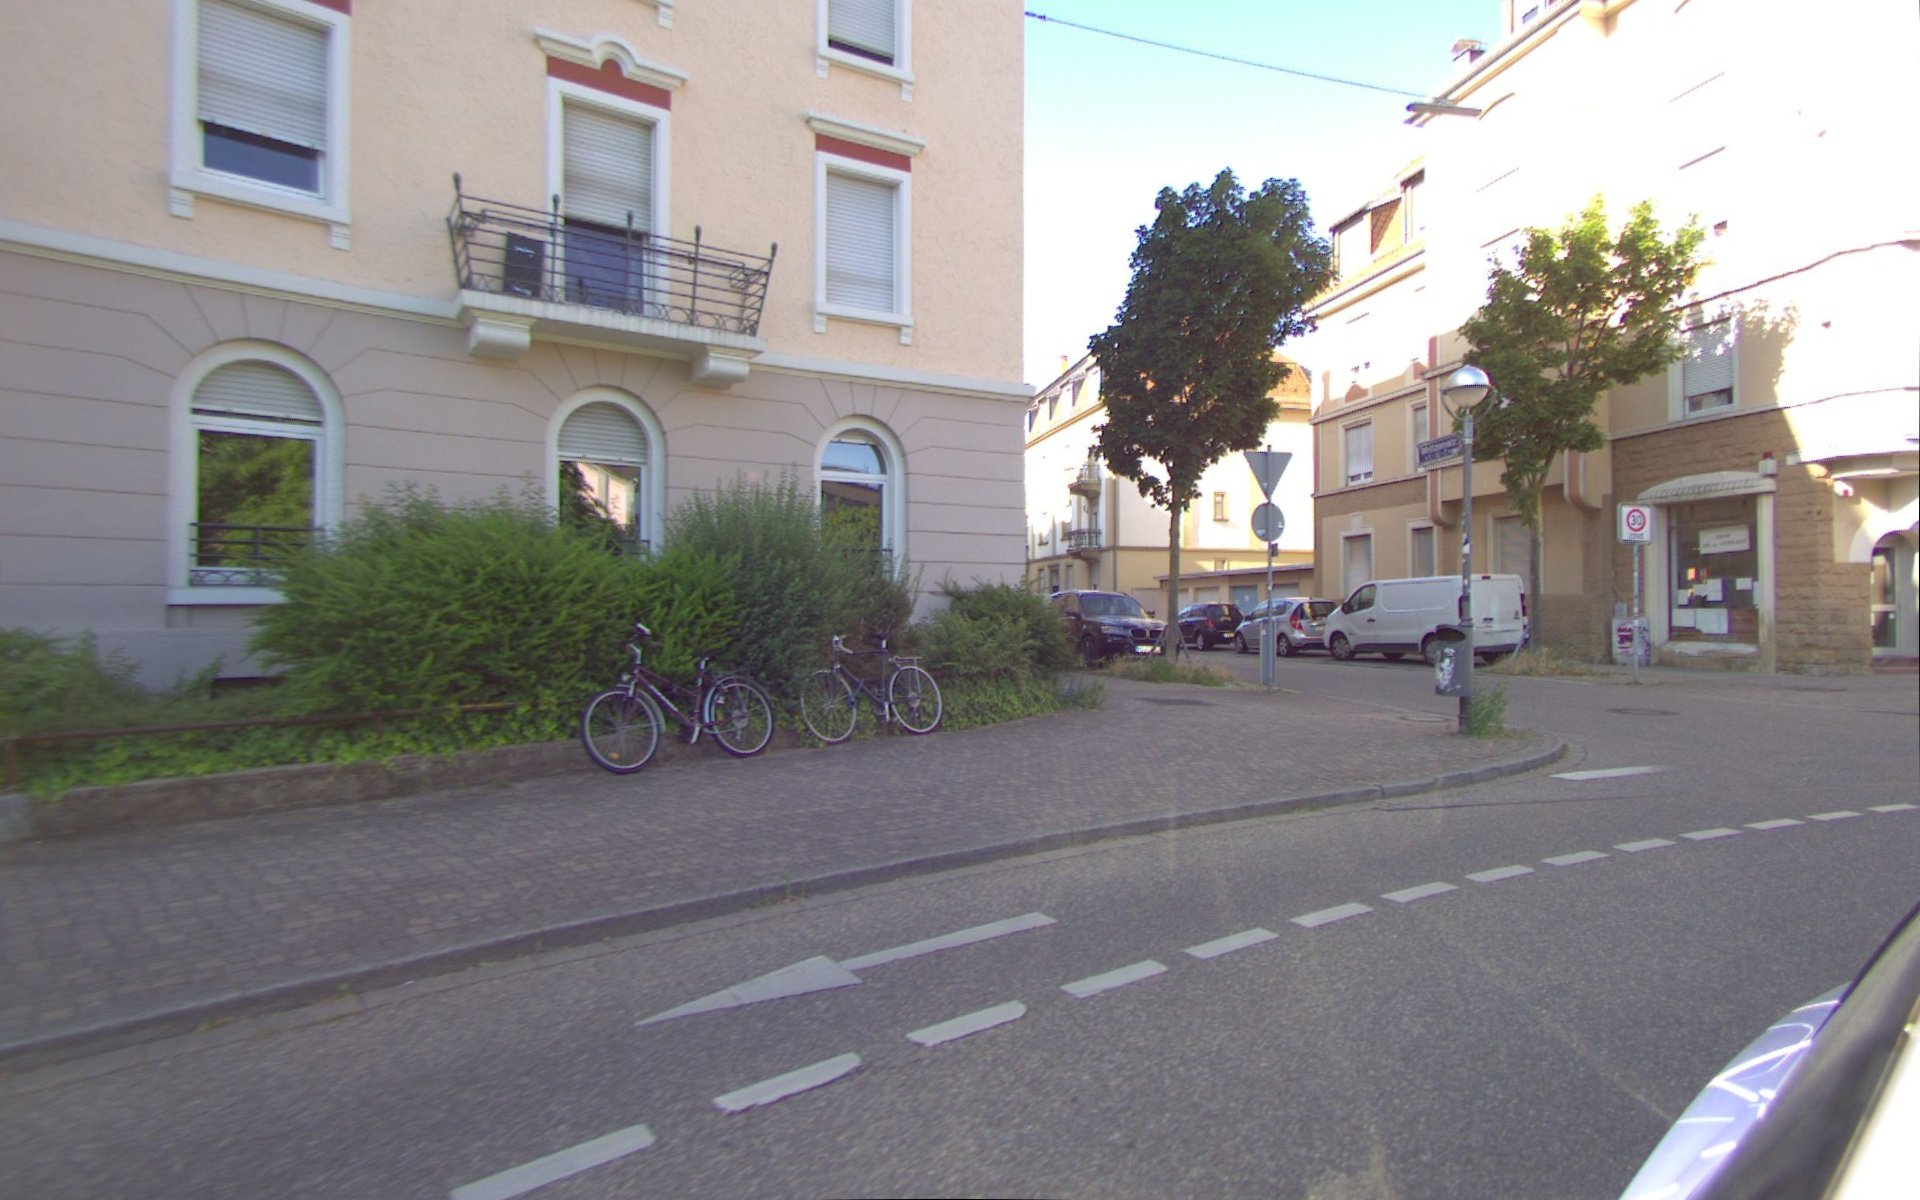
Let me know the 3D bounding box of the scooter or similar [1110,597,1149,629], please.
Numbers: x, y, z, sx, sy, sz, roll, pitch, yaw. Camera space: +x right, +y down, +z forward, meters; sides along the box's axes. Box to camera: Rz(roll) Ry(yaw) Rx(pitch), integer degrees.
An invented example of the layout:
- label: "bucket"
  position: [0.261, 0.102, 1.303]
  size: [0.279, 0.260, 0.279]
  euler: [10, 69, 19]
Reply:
- label: "scooter or similar"
  position: [7.547, 0.590, 45.108]
  size: [1.306, 1.398, 1.355]
  euler: [1, -1, -14]

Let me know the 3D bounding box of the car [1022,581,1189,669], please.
- label: "car"
  position: [2.917, 0.485, 21.360]
  size: [1.869, 1.663, 4.355]
  euler: [0, -1, -16]

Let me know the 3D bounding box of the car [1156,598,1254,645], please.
- label: "car"
  position: [7.835, 0.667, 32.626]
  size: [1.604, 1.446, 3.340]
  euler: [0, -1, -16]

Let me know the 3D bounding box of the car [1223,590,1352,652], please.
- label: "car"
  position: [9.061, 0.561, 28.281]
  size: [1.604, 1.593, 3.745]
  euler: [0, -1, -16]

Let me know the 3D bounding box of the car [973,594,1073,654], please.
- label: "car"
  position: [1.550, 0.594, 26.248]
  size: [1.666, 1.430, 3.669]
  euler: [0, -1, -12]

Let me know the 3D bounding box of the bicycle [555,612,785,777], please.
- label: "bicycle"
  position: [-2.163, 0.657, 7.724]
  size: [0.501, 1.102, 1.660]
  euler: [2, 1, 43]

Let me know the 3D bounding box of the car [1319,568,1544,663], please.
- label: "car"
  position: [10.595, 0.338, 23.191]
  size: [2.096, 1.933, 4.570]
  euler: [0, -1, -18]

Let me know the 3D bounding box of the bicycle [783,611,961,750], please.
- label: "bicycle"
  position: [-0.744, 0.661, 9.010]
  size: [0.501, 1.102, 1.660]
  euler: [2, 1, 43]
